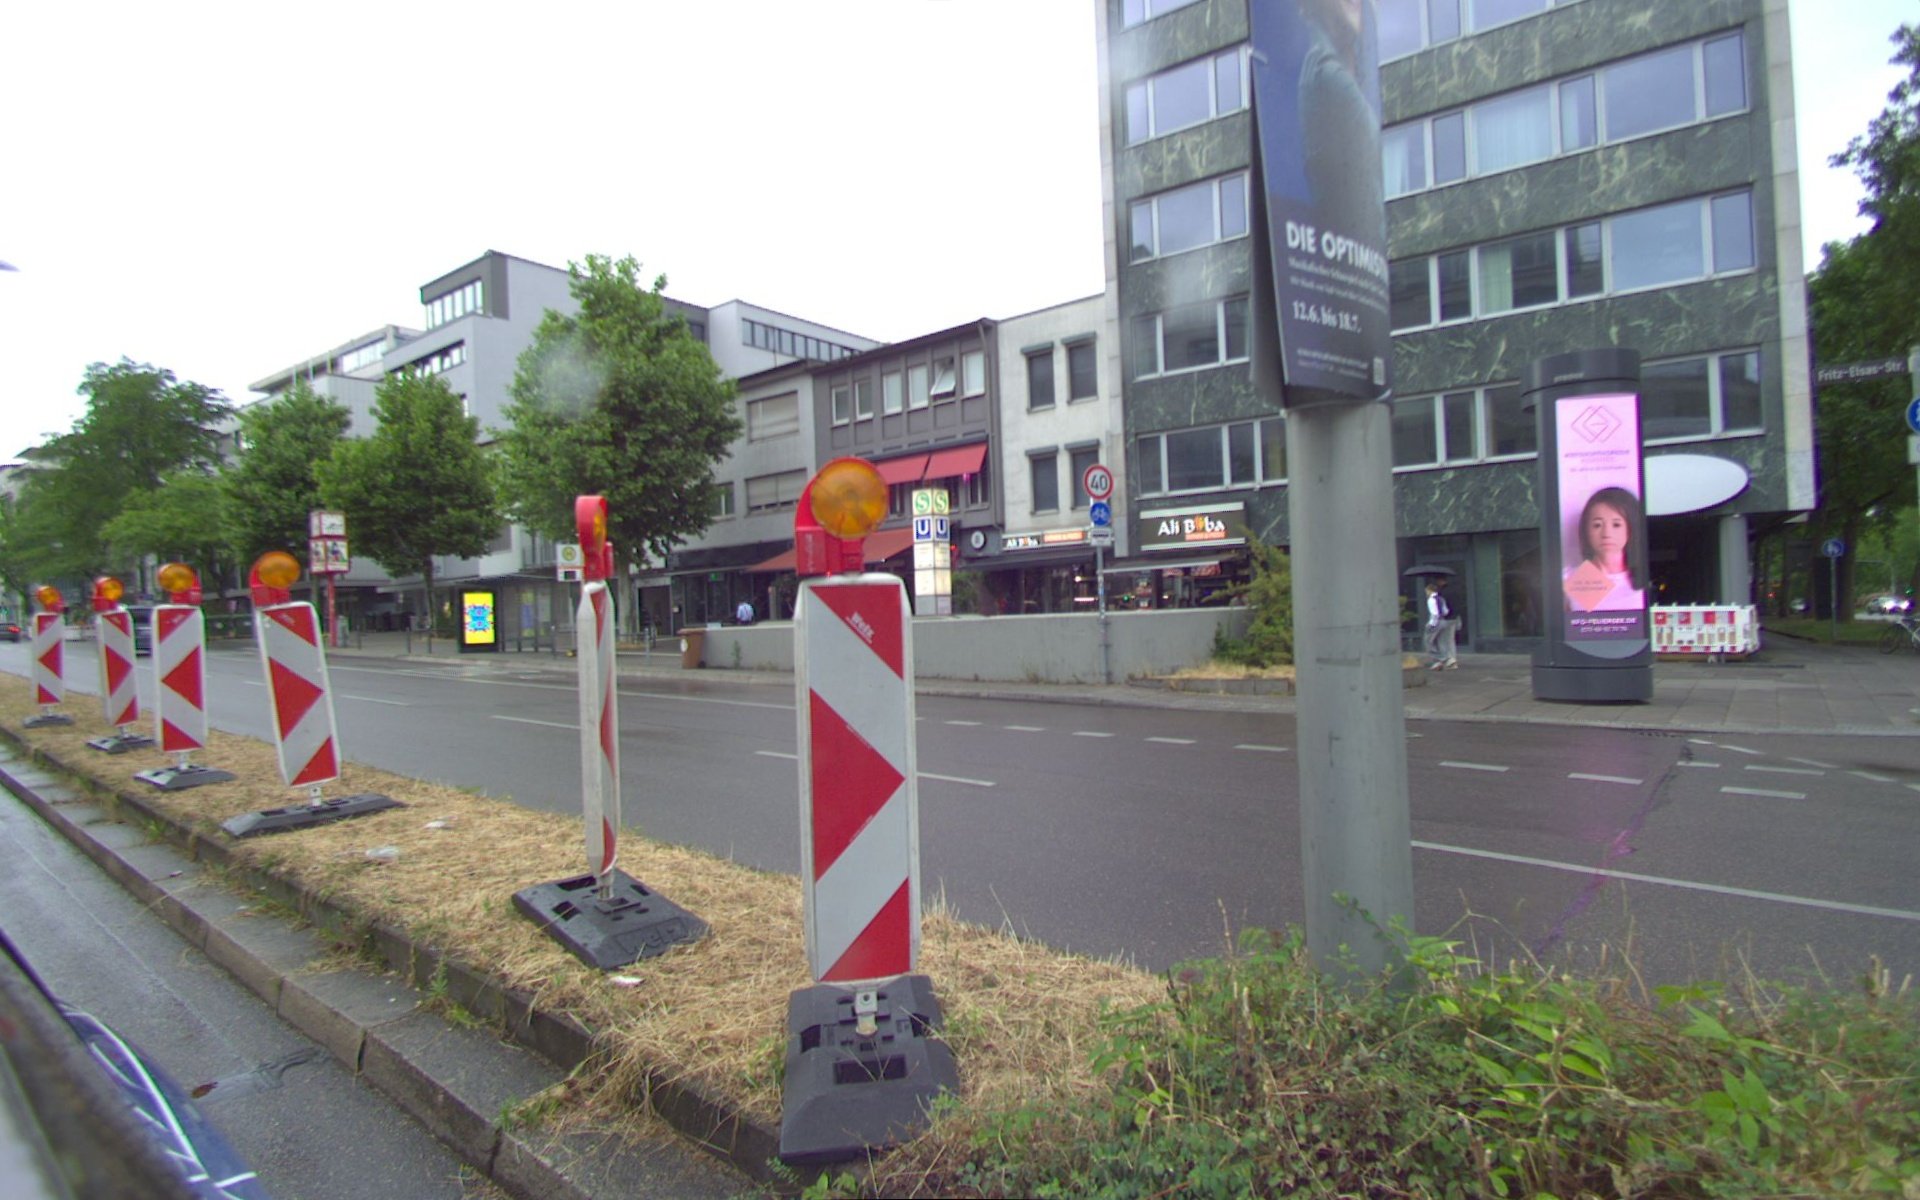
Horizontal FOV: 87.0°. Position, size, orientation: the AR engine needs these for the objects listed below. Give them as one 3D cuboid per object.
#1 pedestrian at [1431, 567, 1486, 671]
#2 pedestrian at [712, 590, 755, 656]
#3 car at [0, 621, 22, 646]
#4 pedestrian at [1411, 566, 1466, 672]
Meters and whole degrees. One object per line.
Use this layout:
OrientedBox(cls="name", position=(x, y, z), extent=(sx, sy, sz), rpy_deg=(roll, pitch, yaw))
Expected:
OrientedBox(cls="pedestrian", position=(9.953, 0.372, 20.211), extent=(0.588, 2.029, 0.730), rpy_deg=(0, -1, -29))
OrientedBox(cls="pedestrian", position=(-7.129, 0.720, 31.826), extent=(0.943, 2.029, 0.910), rpy_deg=(-1, 0, 41))
OrientedBox(cls="car", position=(-64.000, 2.205, 67.143), extent=(4.283, 1.522, 1.672), rpy_deg=(-2, -7, 36))
OrientedBox(cls="pedestrian", position=(9.411, 0.372, 19.903), extent=(0.588, 2.029, 0.730), rpy_deg=(0, -1, -29))
